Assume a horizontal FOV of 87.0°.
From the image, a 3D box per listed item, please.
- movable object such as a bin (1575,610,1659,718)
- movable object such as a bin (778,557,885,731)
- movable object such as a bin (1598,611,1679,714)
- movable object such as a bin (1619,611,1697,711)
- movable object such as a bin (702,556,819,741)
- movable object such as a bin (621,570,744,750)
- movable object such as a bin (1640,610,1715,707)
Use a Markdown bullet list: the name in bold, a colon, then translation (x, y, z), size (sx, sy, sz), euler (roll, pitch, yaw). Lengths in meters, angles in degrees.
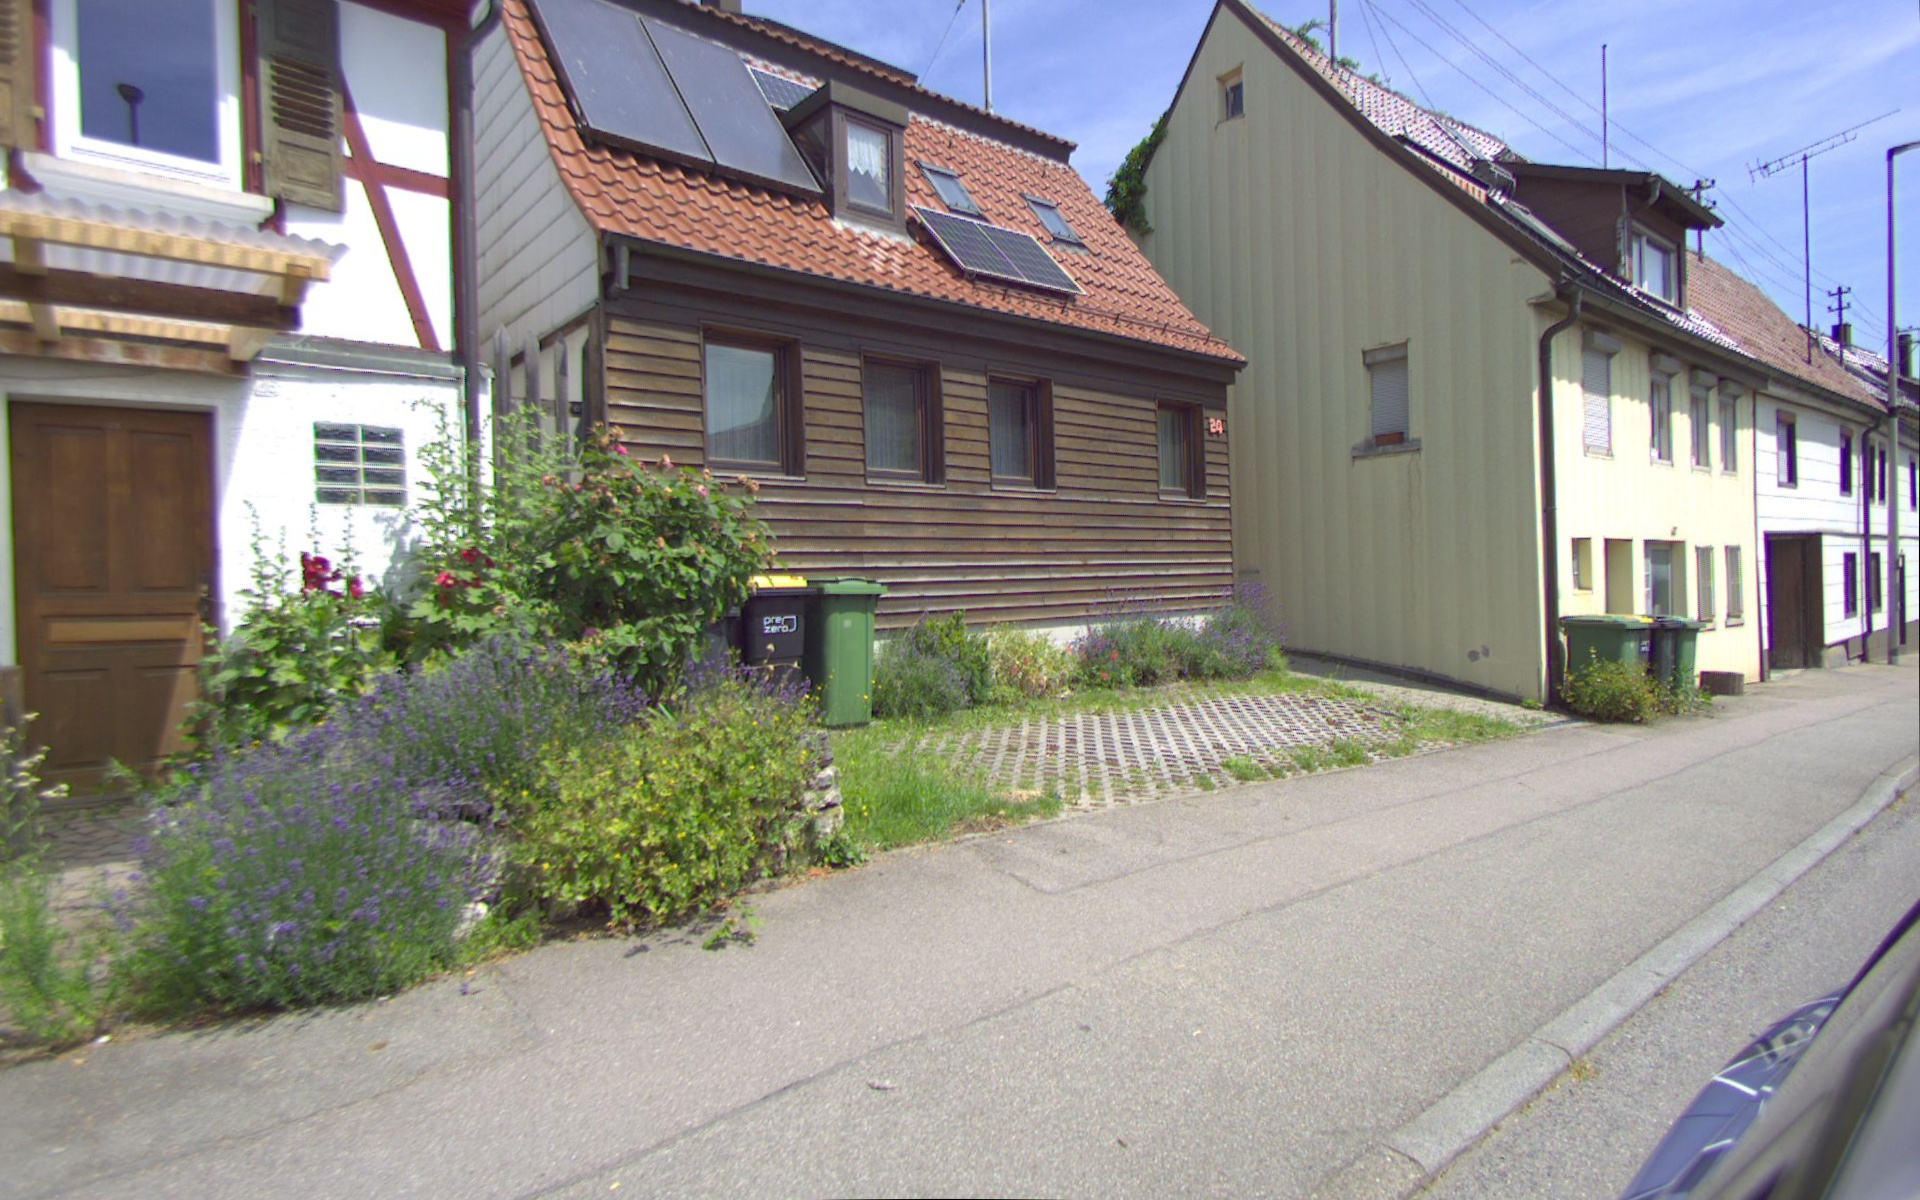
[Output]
- **movable object such as a bin**: translation (6.800, 0.641, 10.471), size (0.541, 1.046, 0.548), euler (1, 2, -39)
- **movable object such as a bin**: translation (-0.946, 0.298, 7.416), size (0.502, 1.171, 0.536), euler (0, 6, -43)
- **movable object such as a bin**: translation (7.331, 0.657, 10.935), size (0.541, 1.046, 0.548), euler (1, 2, -39)
- **movable object such as a bin**: translation (7.802, 0.662, 11.310), size (0.541, 1.046, 0.548), euler (1, 2, -39)
- **movable object such as a bin**: translation (-1.388, 0.310, 7.016), size (0.540, 1.171, 0.535), euler (0, 7, -44)
- **movable object such as a bin**: translation (-1.820, 0.367, 6.626), size (0.540, 1.069, 0.535), euler (0, 7, -44)
- **movable object such as a bin**: translation (8.290, 0.658, 11.696), size (0.541, 1.046, 0.548), euler (1, 2, -39)
